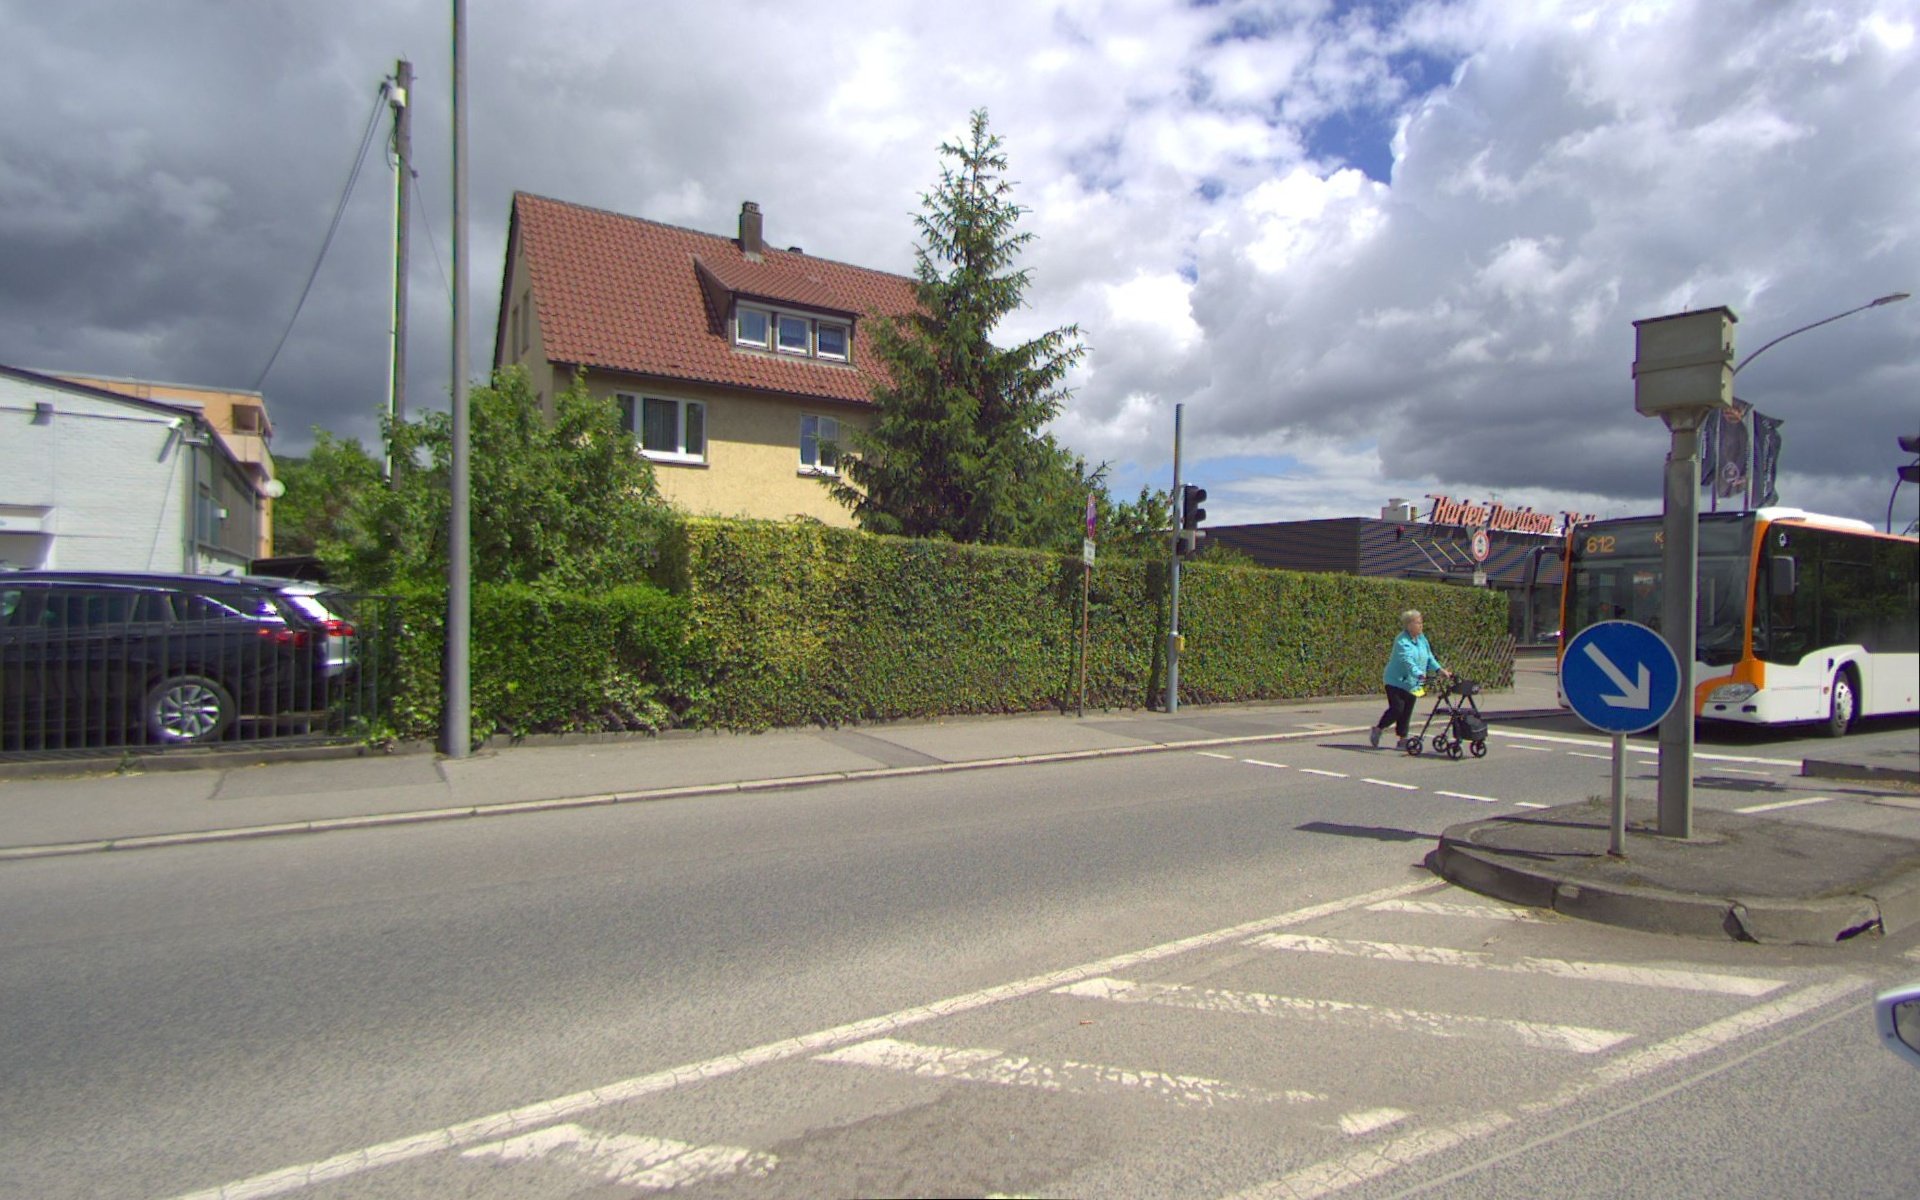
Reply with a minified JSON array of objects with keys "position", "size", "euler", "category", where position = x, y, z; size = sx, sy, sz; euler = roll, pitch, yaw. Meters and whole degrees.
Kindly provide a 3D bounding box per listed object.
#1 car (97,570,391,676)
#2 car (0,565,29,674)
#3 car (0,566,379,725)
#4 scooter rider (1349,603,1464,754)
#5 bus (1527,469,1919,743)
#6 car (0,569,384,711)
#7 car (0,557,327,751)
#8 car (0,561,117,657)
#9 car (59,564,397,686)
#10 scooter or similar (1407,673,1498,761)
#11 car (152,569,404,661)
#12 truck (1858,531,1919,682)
[{"position":[-12.271,0.391,17.439],"size":[3.963,1.639,1.763],"euler":[1,-1,-37],"category":"car"},{"position":[-16.370,0.253,14.593],"size":[3.963,1.639,1.763],"euler":[1,-1,-37],"category":"car"},{"position":[-8.957,0.449,11.117],"size":[4.224,1.527,2.140],"euler":[1,0,-35],"category":"car"},{"position":[5.049,0.850,11.389],"size":[0.787,1.611,0.873],"euler":[1,1,-31],"category":"scooter rider"},{"position":[14.050,0.243,16.414],"size":[11.982,3.309,2.764],"euler":[2,-1,-31],"category":"bus"},{"position":[-10.006,0.501,13.364],"size":[3.959,1.639,1.765],"euler":[1,-1,-34],"category":"car"},{"position":[-8.105,0.425,8.838],"size":[4.224,1.527,2.140],"euler":[1,-1,-35],"category":"car"},{"position":[-17.422,0.136,17.560],"size":[3.963,1.639,1.763],"euler":[1,-1,-37],"category":"car"},{"position":[-10.967,0.379,15.391],"size":[3.959,1.639,1.765],"euler":[1,-1,-34],"category":"car"},{"position":[5.312,1.248,10.844],"size":[0.652,0.843,0.608],"euler":[1,2,-31],"category":"scooter or similar"},{"position":[-13.415,0.309,19.914],"size":[3.963,1.639,1.763],"euler":[1,-1,-37],"category":"car"},{"position":[30.097,0.293,30.517],"size":[9.068,4.186,2.410],"euler":[2,2,-38],"category":"truck"}]
